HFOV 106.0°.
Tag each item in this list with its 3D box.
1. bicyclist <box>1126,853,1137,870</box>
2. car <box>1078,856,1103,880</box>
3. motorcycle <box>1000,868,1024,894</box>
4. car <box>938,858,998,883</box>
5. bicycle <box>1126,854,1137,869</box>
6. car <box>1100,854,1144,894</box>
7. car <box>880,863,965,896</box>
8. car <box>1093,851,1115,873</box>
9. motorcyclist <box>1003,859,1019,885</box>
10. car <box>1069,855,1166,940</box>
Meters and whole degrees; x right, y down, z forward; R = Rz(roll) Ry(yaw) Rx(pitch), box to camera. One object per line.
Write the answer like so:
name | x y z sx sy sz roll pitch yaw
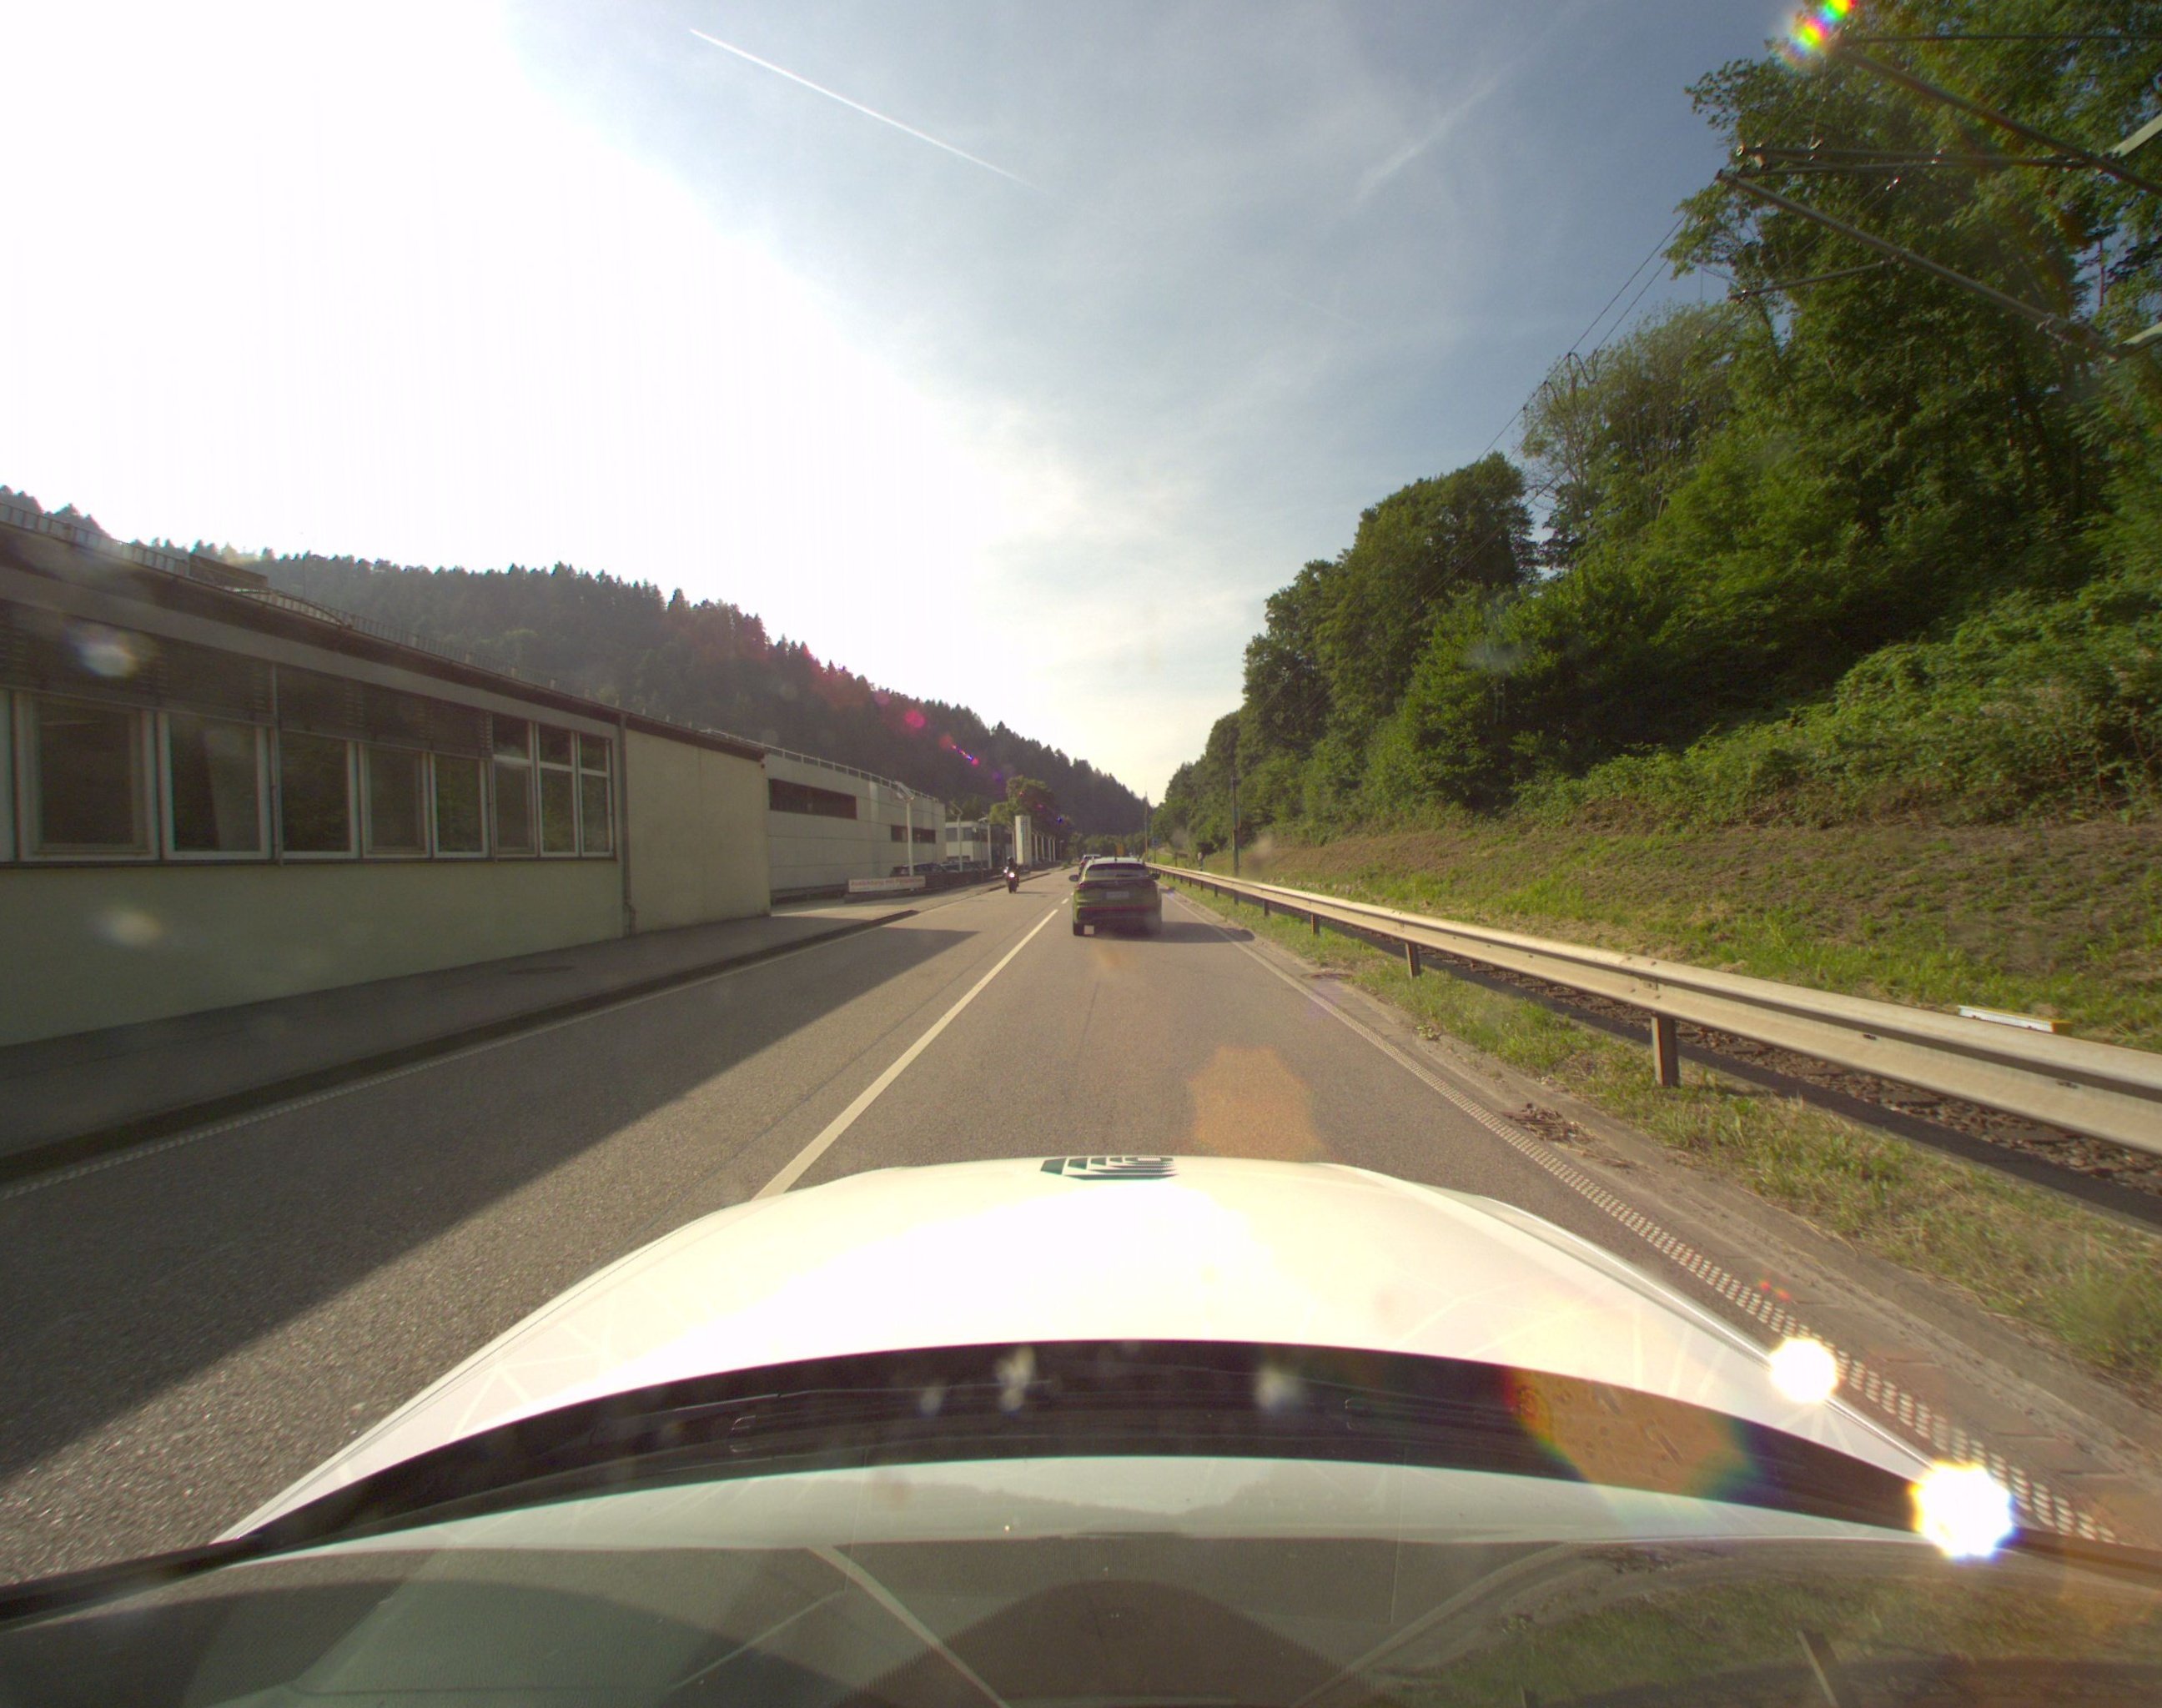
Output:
bicyclist | 4.304 0.616 69.454 0.779 1.412 0.675 -2 -1 0
car | 0.693 0.988 58.749 1.733 1.602 4.001 -1 0 1
motorcycle | -3.002 1.153 35.496 0.738 1.068 2.493 -2 0 2
car | -8.241 1.200 59.720 1.759 1.708 4.135 -2 0 43
bicycle | 4.309 0.646 69.494 0.809 1.250 2.122 -2 0 0
car | 1.710 0.820 35.208 1.733 1.602 4.001 -1 0 1
car | -8.580 1.369 44.392 1.865 1.592 4.200 -2 0 43
car | 2.236 0.763 77.513 1.986 2.013 4.002 -2 0 2
motorcyclist | -3.037 0.771 35.374 0.583 1.124 0.637 -2 -1 1
car | 0.706 0.806 16.923 1.733 1.508 4.001 -1 0 1
